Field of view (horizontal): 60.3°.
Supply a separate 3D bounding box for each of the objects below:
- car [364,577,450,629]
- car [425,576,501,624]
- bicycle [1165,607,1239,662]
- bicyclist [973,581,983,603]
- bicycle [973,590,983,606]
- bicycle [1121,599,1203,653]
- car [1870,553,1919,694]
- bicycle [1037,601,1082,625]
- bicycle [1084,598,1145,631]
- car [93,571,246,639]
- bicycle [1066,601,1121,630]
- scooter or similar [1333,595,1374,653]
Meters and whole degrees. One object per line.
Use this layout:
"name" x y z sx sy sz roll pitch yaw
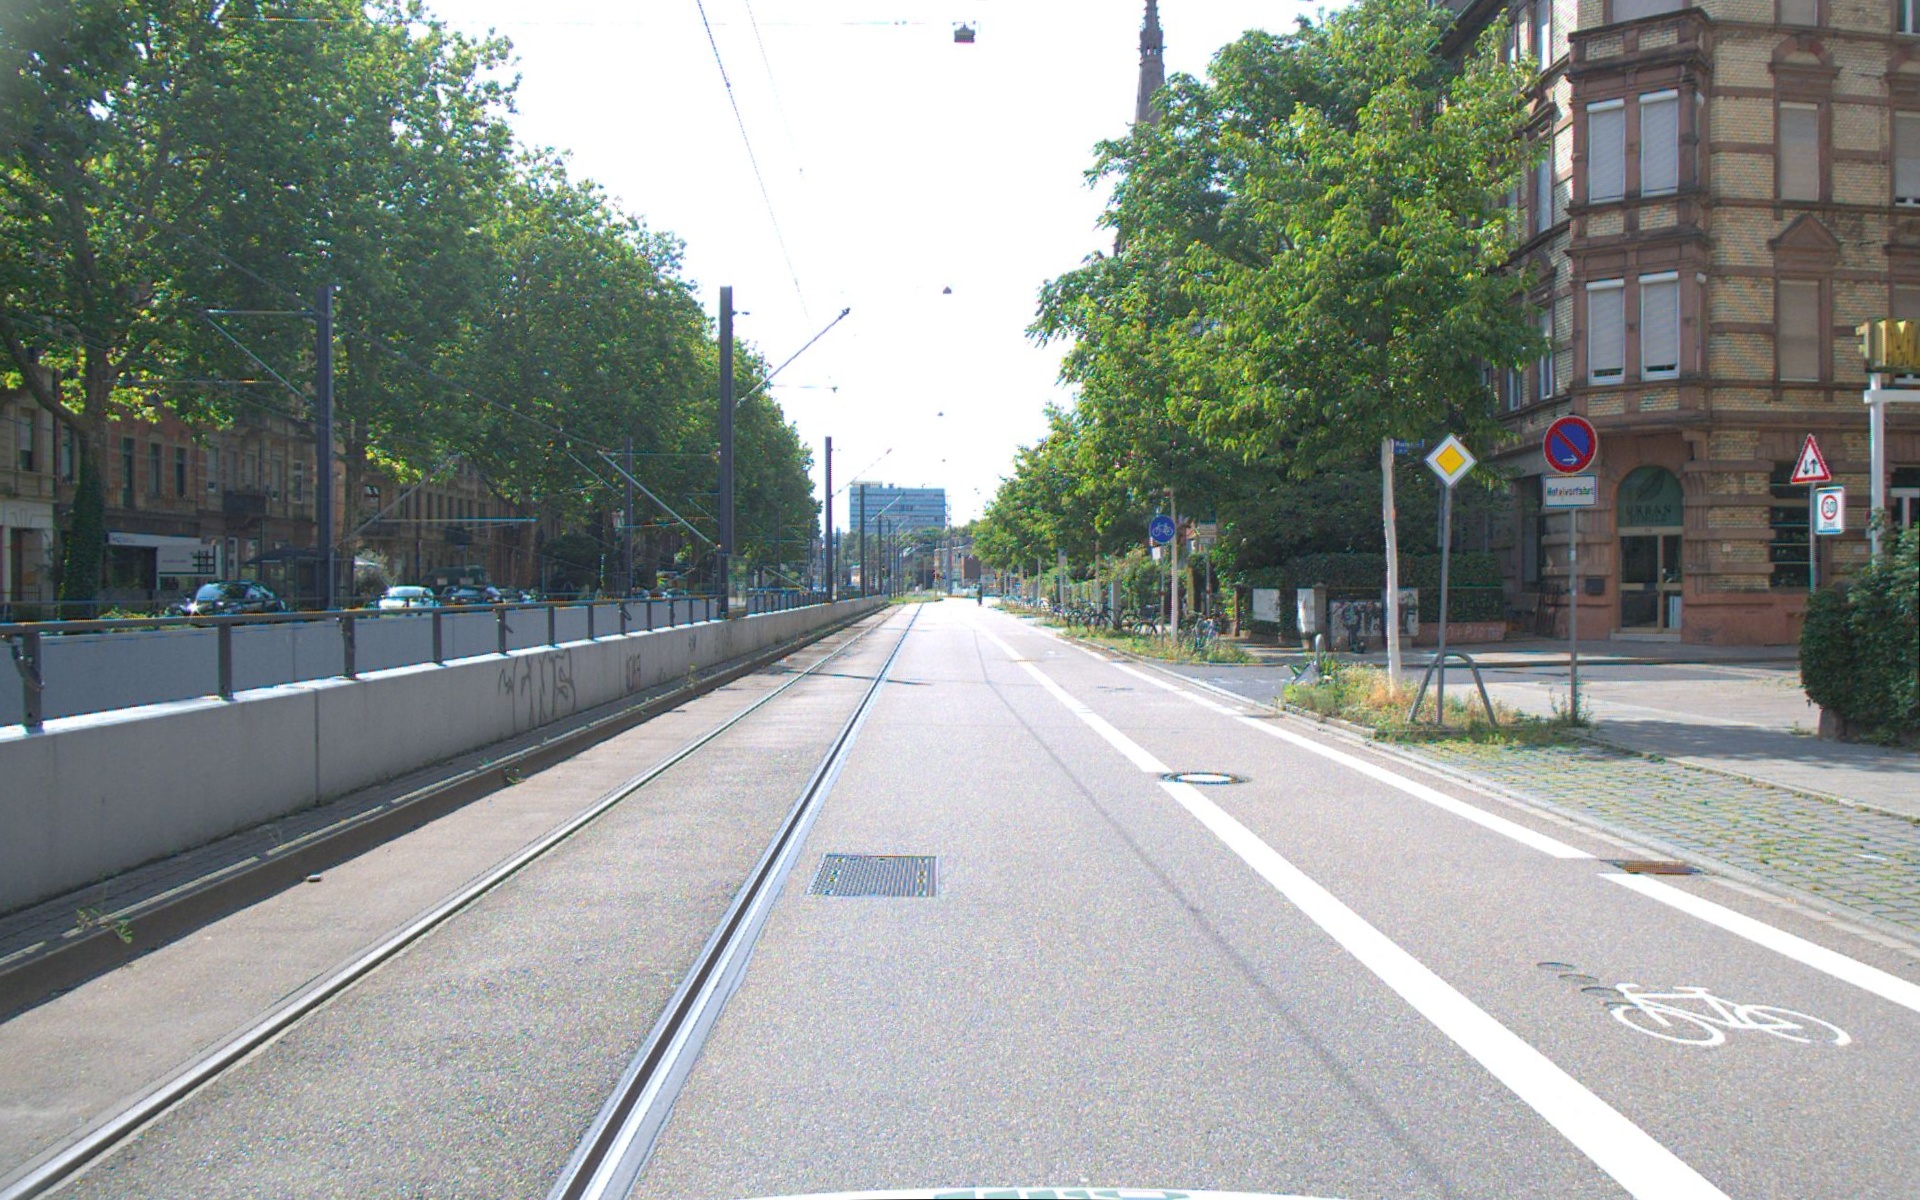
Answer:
"car" -20.355 0.068 61.045 1.801 1.758 3.999 -3 1 -1
"car" -19.824 -0.032 66.134 1.801 1.758 3.999 -3 1 -1
"bicycle" 4.952 0.692 33.990 0.640 1.057 1.810 -3 1 -22
"bicyclist" 1.445 -0.631 134.039 0.755 1.760 1.026 0 0 -1
"bicycle" 1.450 -0.184 134.060 0.783 1.258 2.777 0 0 0
"bicycle" 4.772 0.606 39.161 1.784 1.165 0.649 -3 1 -12
"car" 15.791 0.332 24.146 1.958 2.142 4.472 0 -1 -12
"bicycle" 4.092 0.535 67.990 1.780 0.918 0.603 -3 1 -5
"bicycle" 4.841 0.445 51.804 1.780 0.918 0.651 -3 1 -5
"car" -20.236 0.109 42.523 1.952 1.665 4.001 0 0 1
"bicycle" 4.586 0.528 56.735 1.780 0.918 0.603 -3 1 -5
"scooter or similar" 8.406 0.498 35.368 0.451 1.178 1.573 -1 0 0
